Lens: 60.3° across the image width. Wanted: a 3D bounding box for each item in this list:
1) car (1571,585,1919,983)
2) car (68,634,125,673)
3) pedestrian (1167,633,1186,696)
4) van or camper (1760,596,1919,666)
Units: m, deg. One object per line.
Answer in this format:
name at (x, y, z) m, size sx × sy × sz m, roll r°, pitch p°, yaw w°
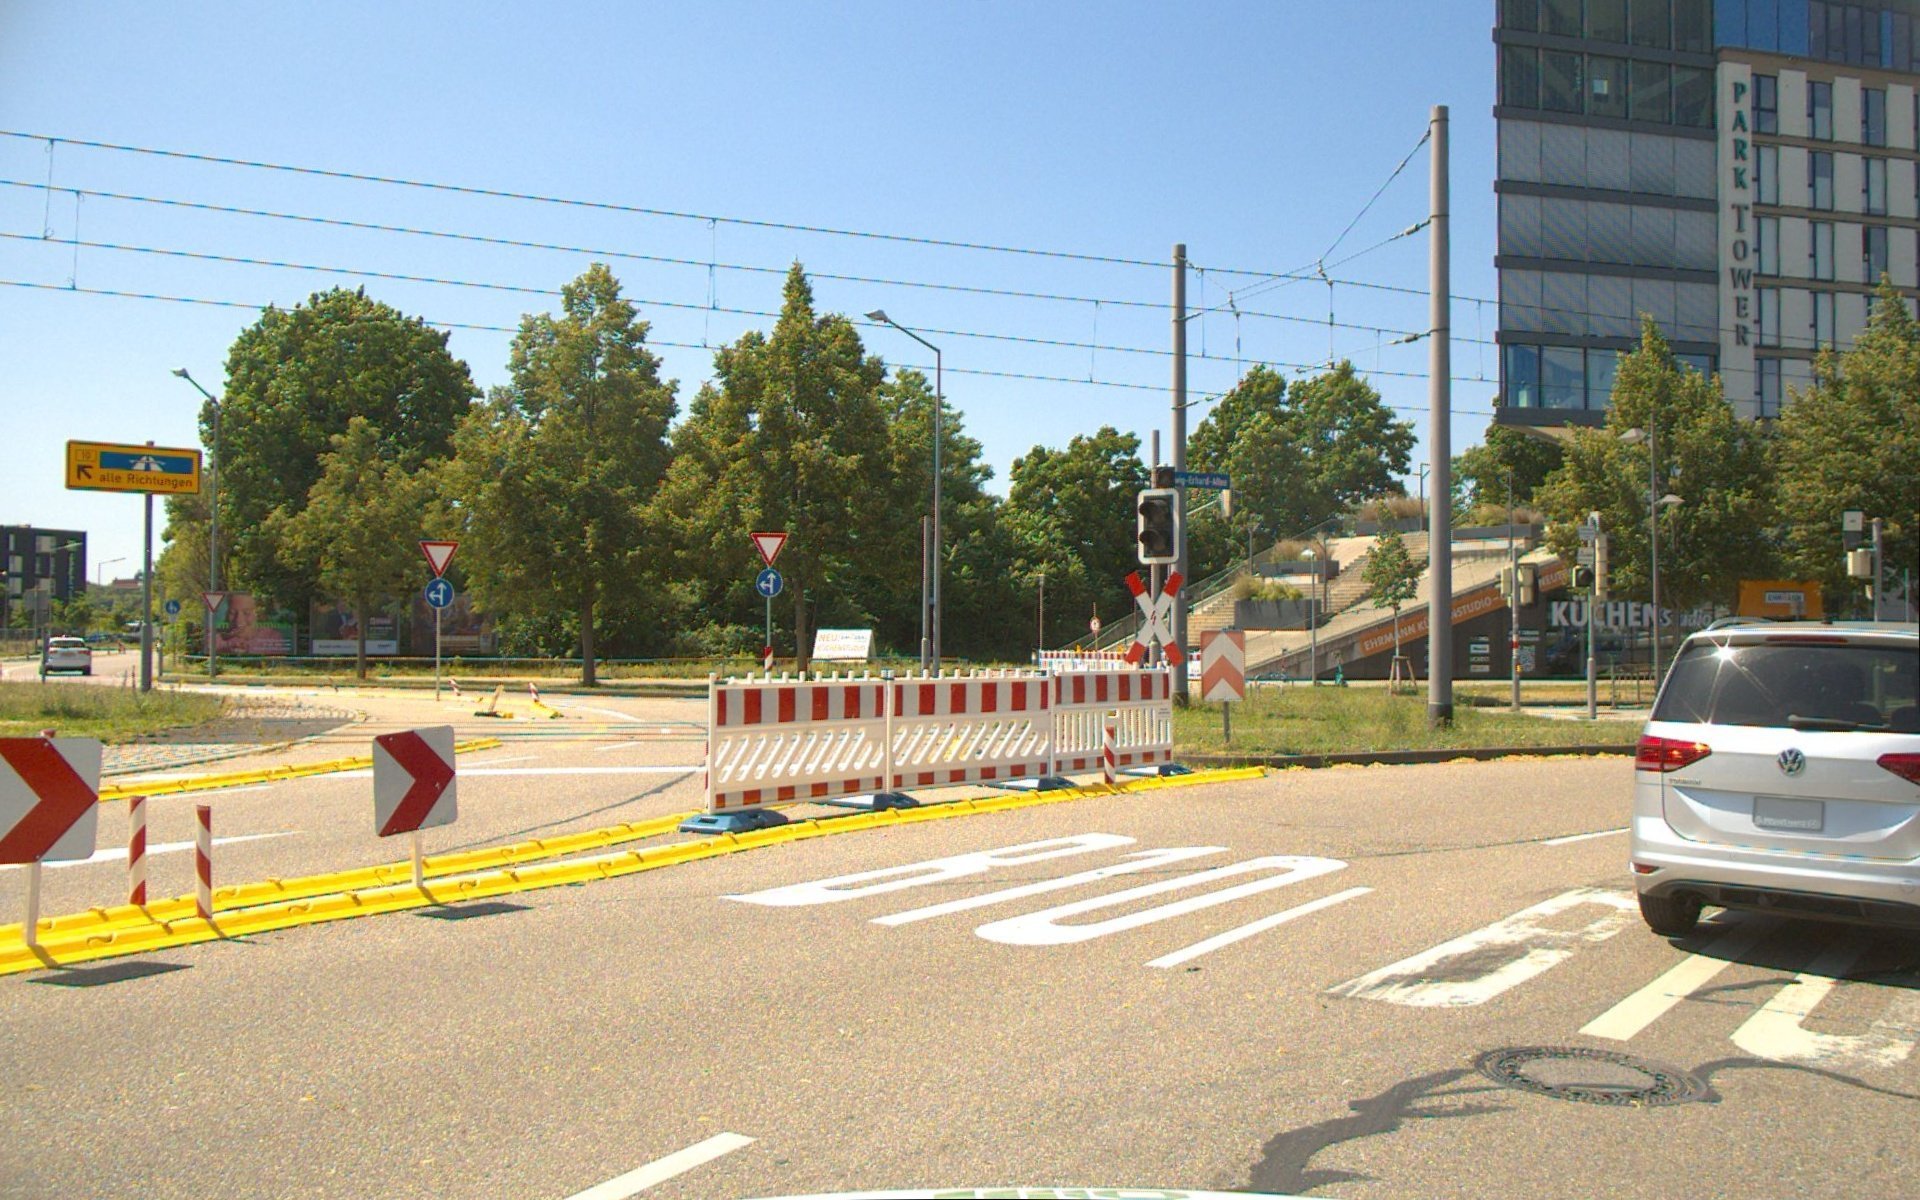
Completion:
car at (5.129, 0.827, 9.118) m, size 1.774 × 1.678 × 4.577 m, roll 0°, pitch -1°, yaw 41°
car at (-35.194, 2.140, 67.396) m, size 1.971 × 1.512 × 4.324 m, roll 1°, pitch -1°, yaw -29°
pedestrian at (6.130, 1.817, 46.731) m, size 0.441 × 1.769 × 0.290 m, roll 1°, pitch -2°, yaw -18°
van or camper at (37.706, 1.337, 70.662) m, size 6.663 × 2.872 × 2.369 m, roll 1°, pitch -1°, yaw -20°
